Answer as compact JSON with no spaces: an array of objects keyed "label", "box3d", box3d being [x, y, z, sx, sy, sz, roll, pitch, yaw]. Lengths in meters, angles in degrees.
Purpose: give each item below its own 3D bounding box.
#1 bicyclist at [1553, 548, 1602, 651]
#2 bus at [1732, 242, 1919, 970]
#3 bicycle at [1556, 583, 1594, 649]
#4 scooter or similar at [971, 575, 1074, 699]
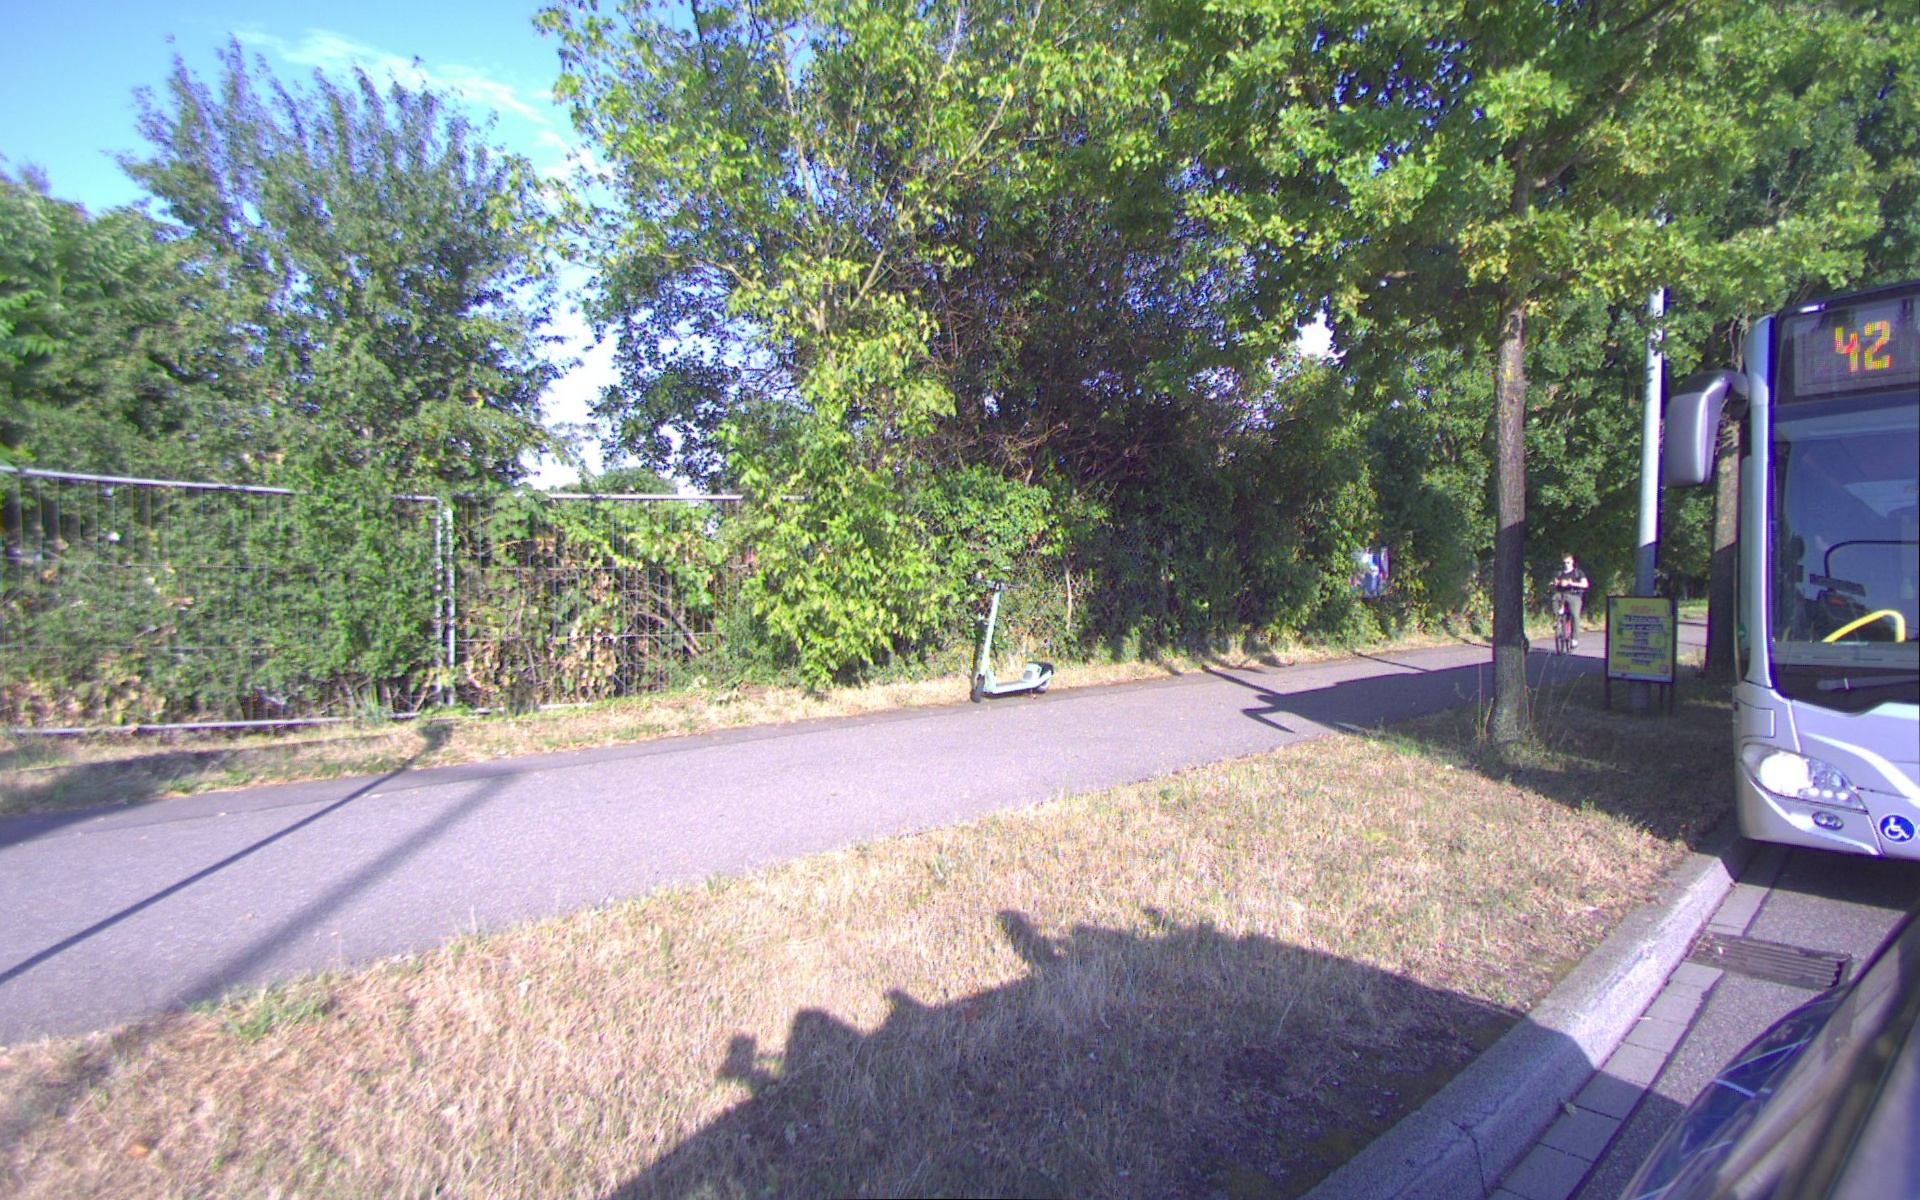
[{"label":"bicyclist","box3d":[11.641,-0.033,19.087,0.617,1.851,0.820,6,4,34]},{"label":"bus","box3d":[8.513,0.001,7.992,2.588,3.081,11.534,1,1,44]},{"label":"bicycle","box3d":[11.698,0.291,19.222,0.414,1.172,1.867,5,3,35]},{"label":"scooter or similar","box3d":[0.615,0.343,9.822,1.076,1.139,0.249,0,4,-41]}]
